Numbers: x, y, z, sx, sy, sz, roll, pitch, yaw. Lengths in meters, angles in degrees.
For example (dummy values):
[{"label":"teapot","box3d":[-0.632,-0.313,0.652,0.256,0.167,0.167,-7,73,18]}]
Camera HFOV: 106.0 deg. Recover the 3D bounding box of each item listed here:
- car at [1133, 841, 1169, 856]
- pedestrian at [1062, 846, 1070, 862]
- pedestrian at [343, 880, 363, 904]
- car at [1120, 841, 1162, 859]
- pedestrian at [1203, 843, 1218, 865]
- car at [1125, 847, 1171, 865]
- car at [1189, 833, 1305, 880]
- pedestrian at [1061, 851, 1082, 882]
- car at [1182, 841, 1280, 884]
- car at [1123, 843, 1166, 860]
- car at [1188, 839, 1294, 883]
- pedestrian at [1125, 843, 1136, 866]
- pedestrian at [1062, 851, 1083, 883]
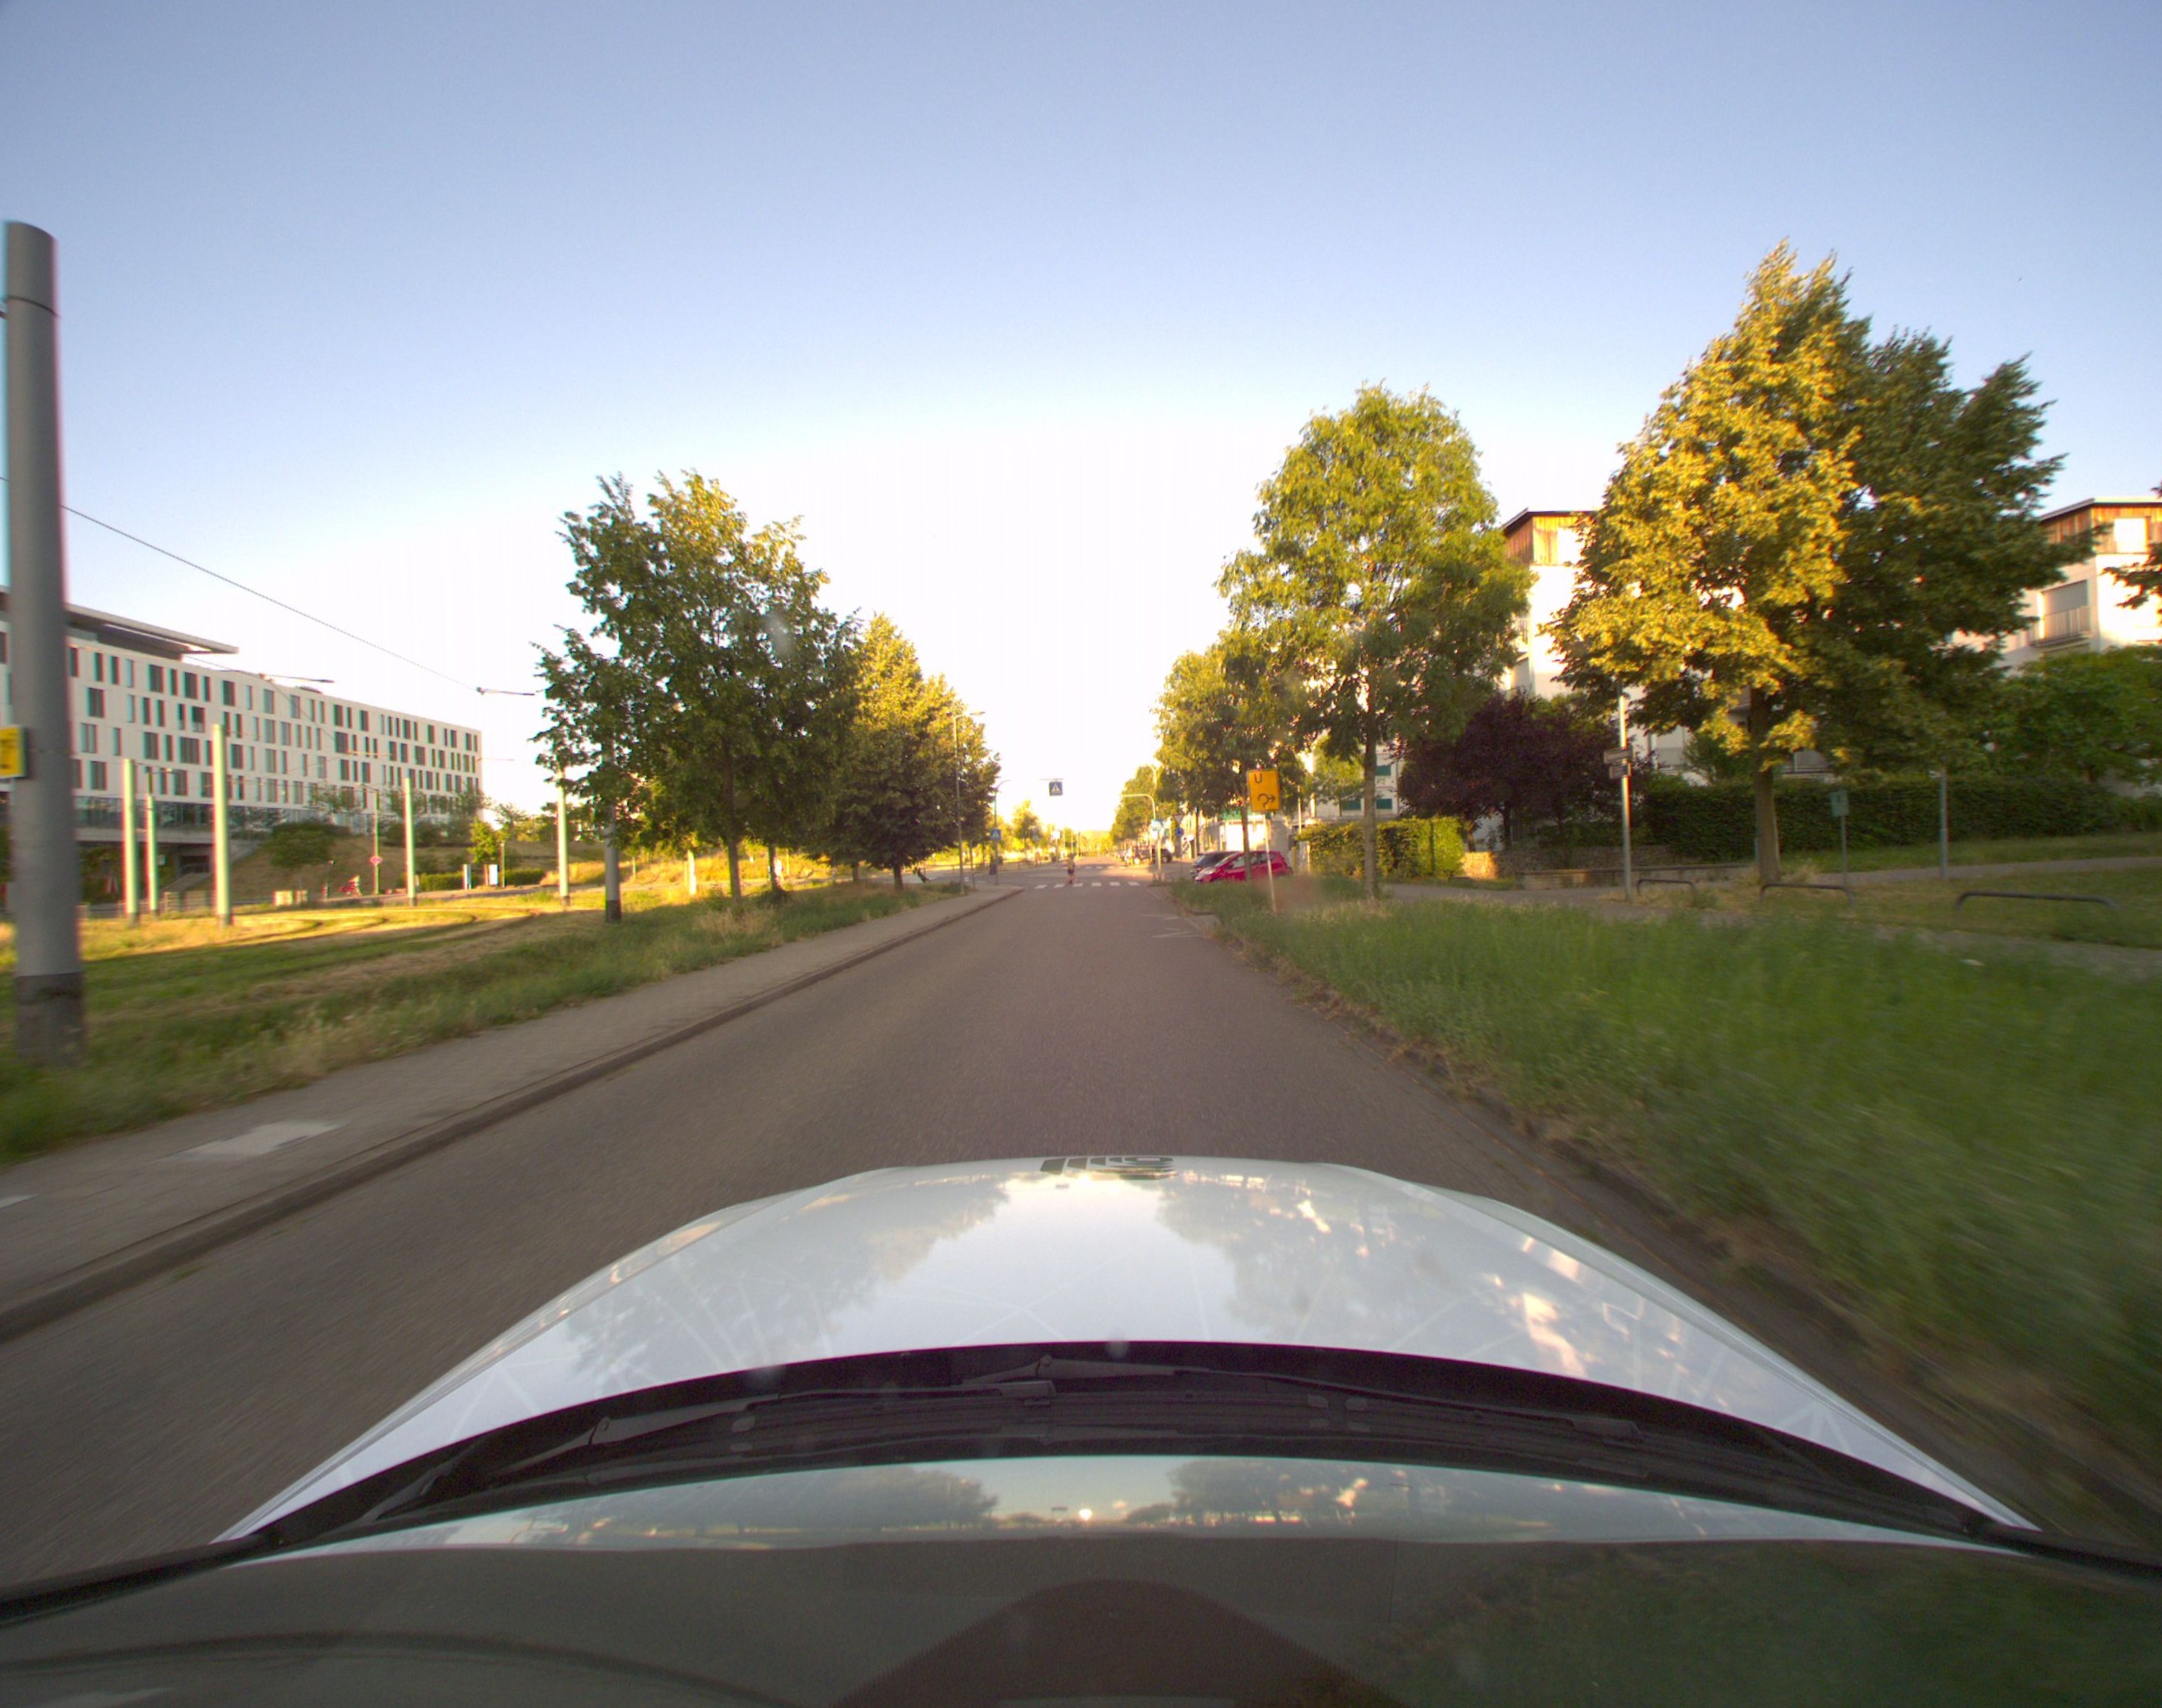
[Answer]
[{"label":"car","box3d":[8.599,-0.651,99.929,4.249,1.596,2.000,-2,0,0]},{"label":"pedestrian","box3d":[-2.016,0.032,106.690,0.866,2.013,0.787,-2,0,-9]},{"label":"pedestrian","box3d":[-56.282,2.950,62.951,0.783,1.786,0.815,-2,0,4]},{"label":"car","box3d":[7.512,-0.475,102.990,4.992,2.045,2.248,-2,0,-4]},{"label":"pedestrian","box3d":[10.883,-0.016,68.451,1.002,1.788,0.761,-1,0,-5]},{"label":"car","box3d":[6.533,0.162,79.827,4.467,1.596,2.001,-2,0,2]},{"label":"car","box3d":[5.936,0.086,29.318,3.791,1.508,1.678,-2,0,-1]},{"label":"pedestrian","box3d":[-0.532,0.703,45.426,0.983,1.693,0.697,-2,0,-10]},{"label":"car","box3d":[6.359,0.352,34.762,3.794,1.508,1.677,-3,4,-4]},{"label":"car","box3d":[6.632,-0.291,84.979,4.338,1.596,2.001,-2,0,2]},{"label":"car","box3d":[6.236,0.261,32.043,3.791,1.508,1.678,-2,0,-1]},{"label":"pedestrian","box3d":[4.447,0.061,72.763,0.842,2.013,0.945,-2,0,7]},{"label":"pedestrian","box3d":[-0.463,0.721,44.656,1.018,1.693,0.757,-2,0,-10]}]
